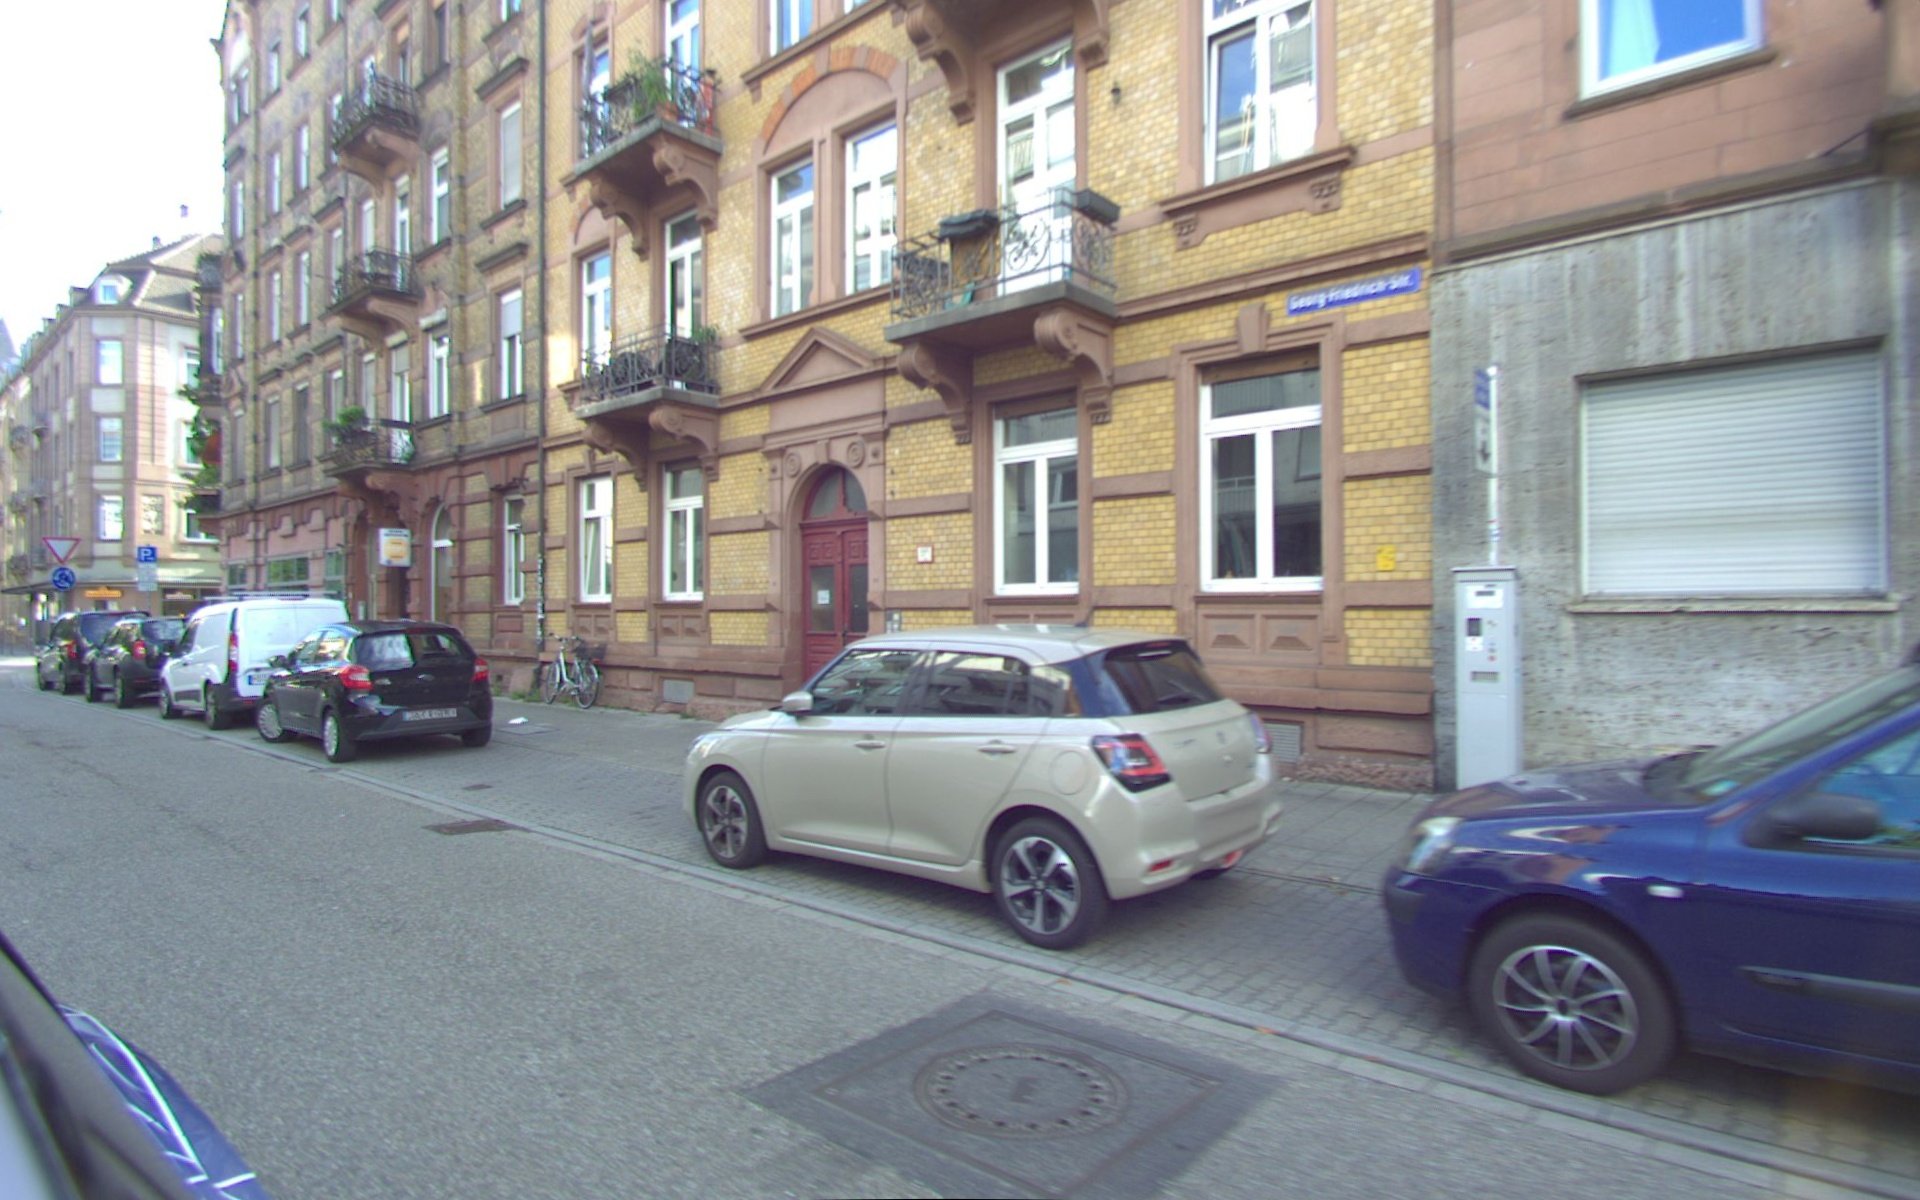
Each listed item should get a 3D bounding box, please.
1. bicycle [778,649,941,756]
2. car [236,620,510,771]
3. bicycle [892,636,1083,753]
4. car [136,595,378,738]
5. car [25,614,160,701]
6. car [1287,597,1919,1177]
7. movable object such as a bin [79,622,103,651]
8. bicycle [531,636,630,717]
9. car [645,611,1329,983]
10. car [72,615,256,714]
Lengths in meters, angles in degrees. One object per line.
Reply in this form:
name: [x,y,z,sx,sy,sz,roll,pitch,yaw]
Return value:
bicycle: [-1.160,1.112,11.481,1.771,1.045,0.845,-2,0,42]
car: [-7.240,1.021,12.324,3.982,1.495,1.723,-1,0,42]
bicycle: [0.252,0.910,10.282,1.771,1.045,0.888,-2,-1,42]
car: [-10.898,0.943,15.589,4.431,1.886,1.901,-2,-2,39]
car: [-20.135,1.281,23.434,4.403,1.787,1.742,-2,0,41]
car: [3.282,0.746,3.101,3.982,1.495,1.723,-1,0,42]
movable object such as a bin: [-22.621,0.953,26.335,0.475,0.719,0.379,-2,-1,37]
bicycle: [-6.037,1.177,16.033,2.000,1.159,0.562,-1,0,41]
car: [-0.067,0.846,6.146,3.982,1.495,1.723,-1,0,42]
car: [-15.341,1.189,19.436,4.143,1.650,1.973,0,-4,41]
